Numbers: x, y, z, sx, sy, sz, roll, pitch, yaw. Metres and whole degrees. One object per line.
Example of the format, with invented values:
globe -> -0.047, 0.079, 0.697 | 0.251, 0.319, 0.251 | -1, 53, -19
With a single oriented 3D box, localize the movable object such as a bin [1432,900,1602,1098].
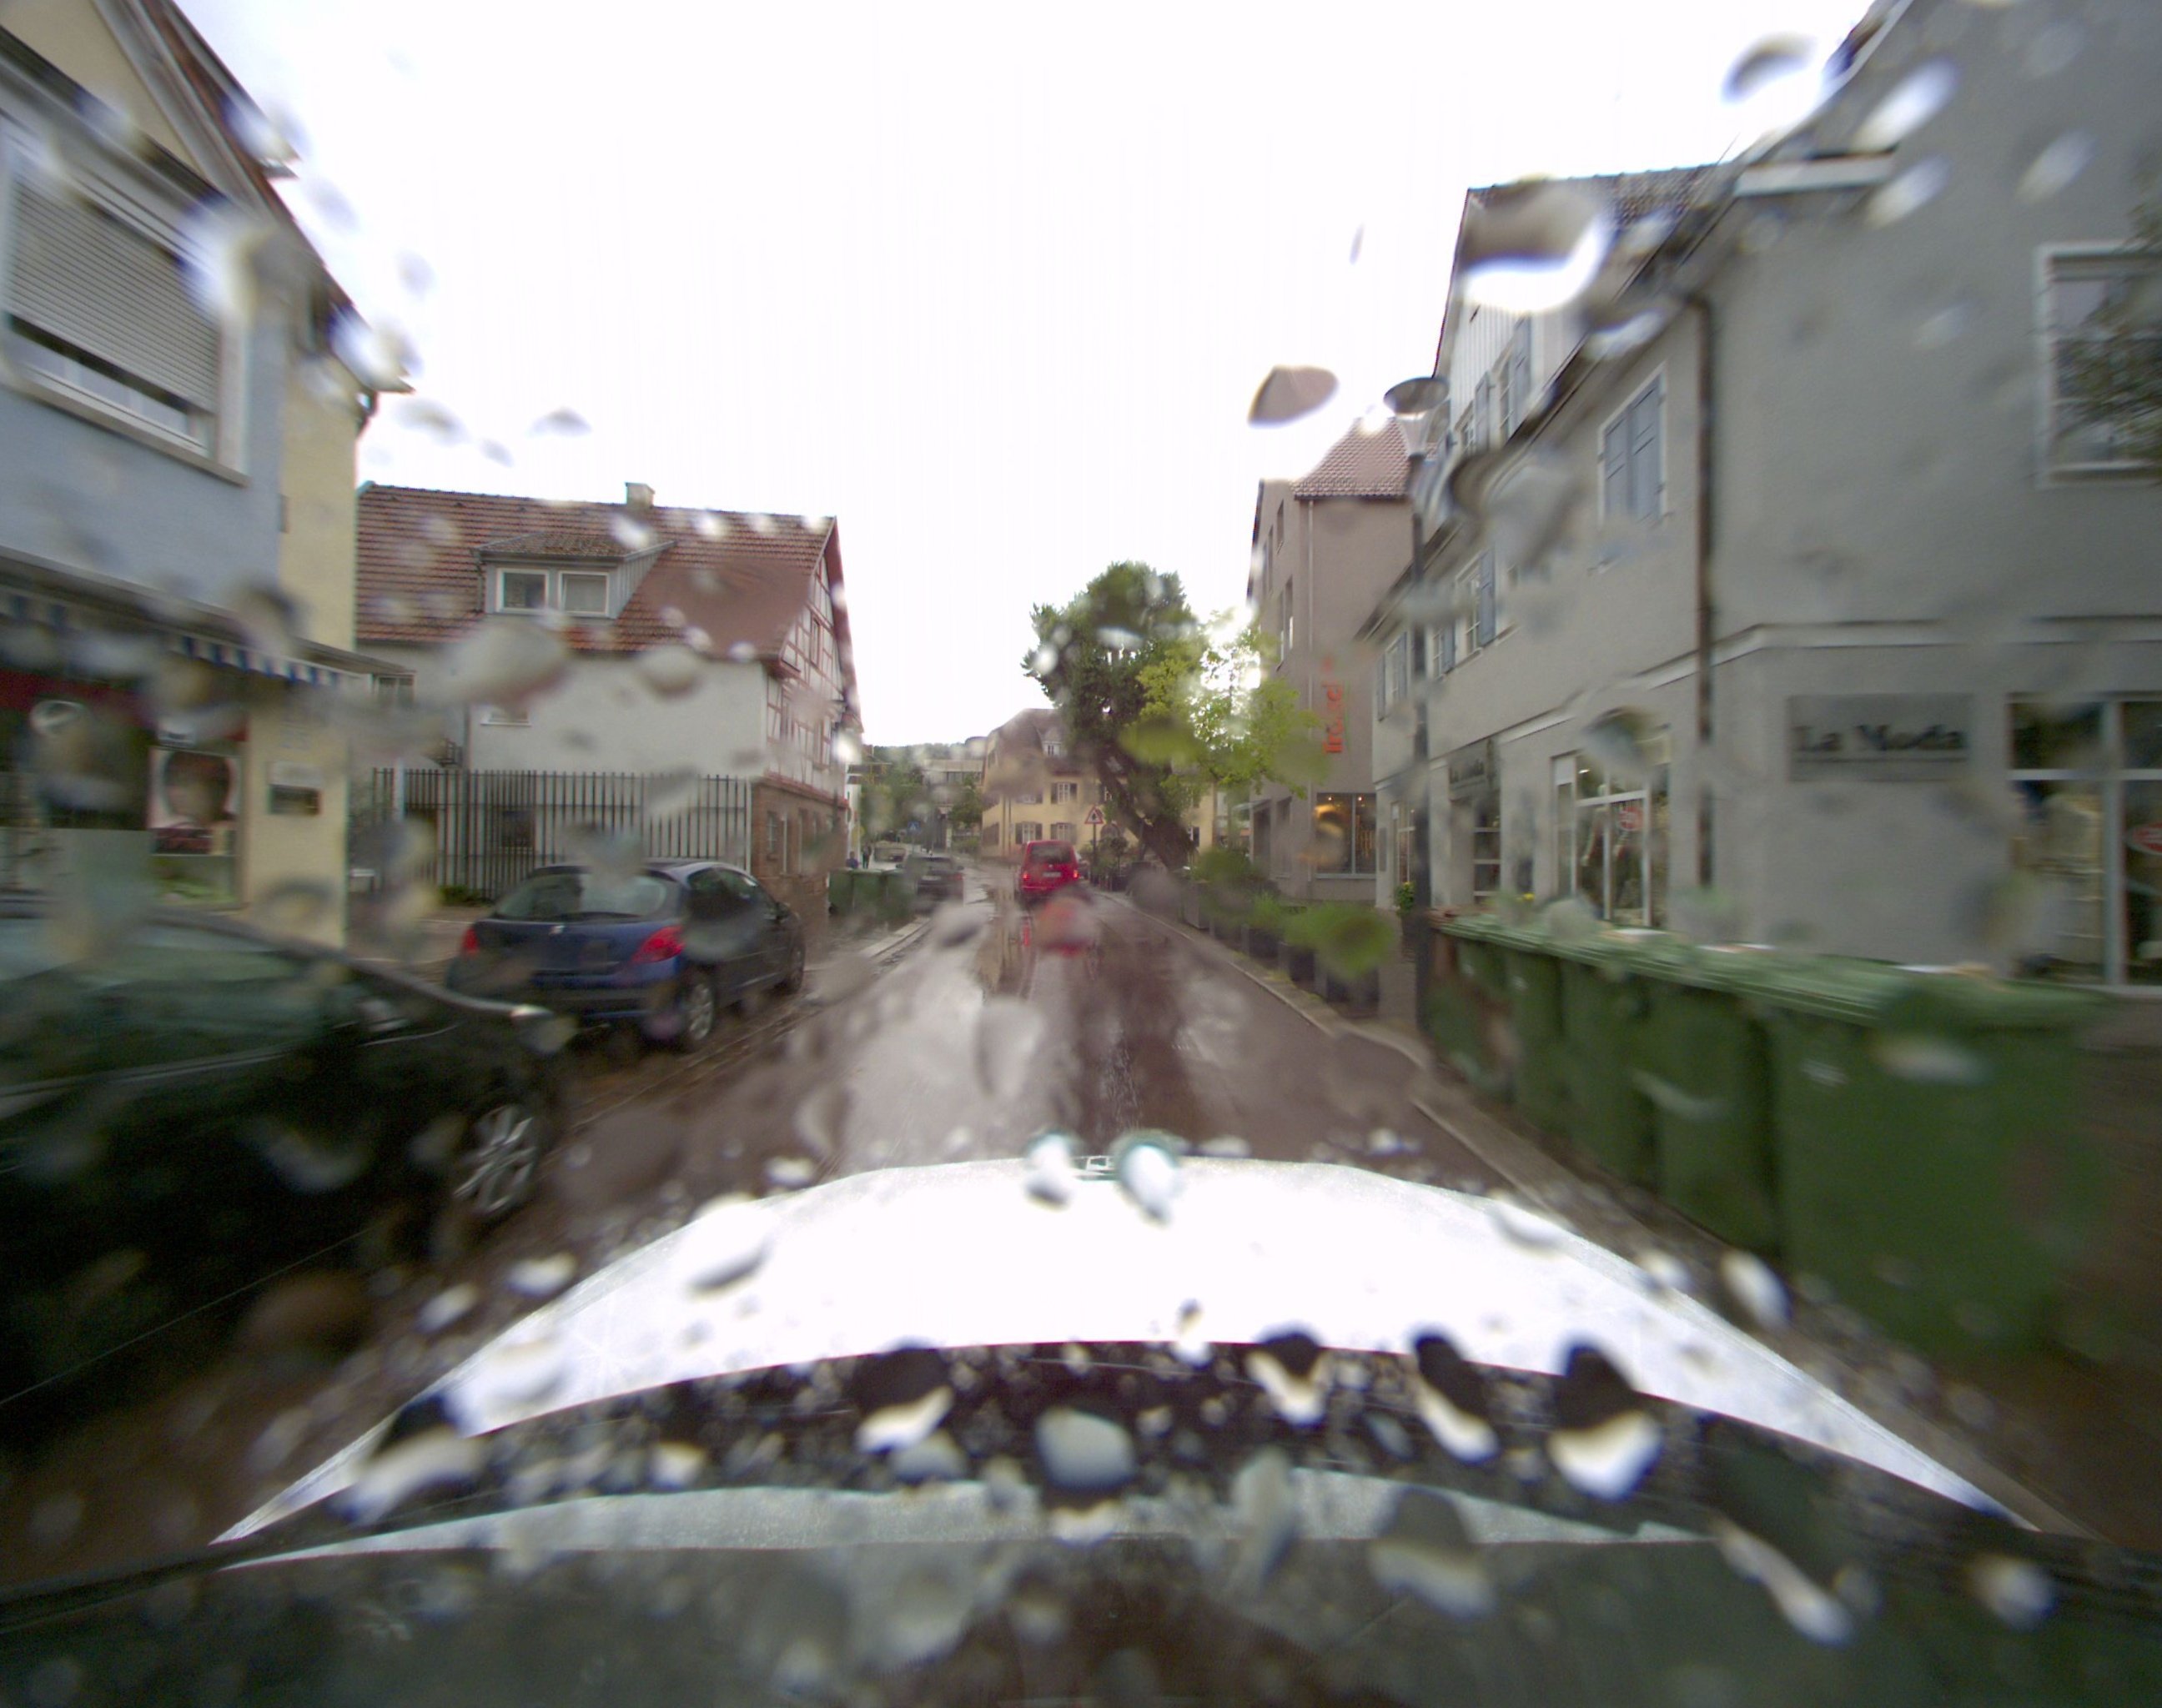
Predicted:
movable object such as a bin -> 2.648, 0.852, 5.003 | 0.732, 1.098, 0.611 | 1, -1, 2

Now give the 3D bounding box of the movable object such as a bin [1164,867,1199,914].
movable object such as a bin -> 2.352, 0.851, 19.141 | 0.719, 1.073, 0.648 | 1, -1, -2

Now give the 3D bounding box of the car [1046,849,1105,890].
car -> -0.189, 0.741, 38.963 | 1.981, 1.799, 4.012 | 1, -1, 11

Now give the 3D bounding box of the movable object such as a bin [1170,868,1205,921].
movable object such as a bin -> 2.279, 0.860, 17.501 | 0.630, 1.104, 0.578 | 2, -1, -5

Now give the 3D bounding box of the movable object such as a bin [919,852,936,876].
movable object such as a bin -> -7.183, 0.452, 38.040 | 0.714, 1.106, 0.598 | 2, -1, -8

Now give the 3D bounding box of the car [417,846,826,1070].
car -> -3.752, 0.707, 7.559 | 1.753, 1.473, 3.938 | 2, 1, -4

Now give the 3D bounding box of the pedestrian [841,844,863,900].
pedestrian -> -7.193, 0.572, 25.574 | 0.517, 1.711, 0.577 | 2, -1, -5

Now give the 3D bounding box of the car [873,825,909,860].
car -> -15.701, -0.846, 67.043 | 2.305, 2.602, 6.917 | 2, -1, -17

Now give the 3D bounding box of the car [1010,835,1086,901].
car -> -1.098, 0.357, 24.997 | 1.893, 1.811, 3.990 | 2, 1, -8

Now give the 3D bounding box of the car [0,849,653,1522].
car -> -3.220, 0.749, 2.371 | 1.684, 1.443, 3.888 | 1, 1, 3

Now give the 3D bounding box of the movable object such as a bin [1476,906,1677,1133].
movable object such as a bin -> 2.643, 0.849, 4.406 | 0.732, 1.098, 0.611 | 1, -1, 2

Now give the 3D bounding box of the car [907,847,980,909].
car -> -3.841, 0.609, 22.674 | 1.788, 1.495, 3.986 | 2, 1, -11

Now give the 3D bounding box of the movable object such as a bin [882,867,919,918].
movable object such as a bin -> -4.098, 0.864, 18.502 | 0.724, 1.110, 0.595 | 2, -1, -5

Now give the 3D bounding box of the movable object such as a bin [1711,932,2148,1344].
movable object such as a bin -> 2.623, 0.823, 2.599 | 0.765, 1.079, 0.599 | 1, -1, 3

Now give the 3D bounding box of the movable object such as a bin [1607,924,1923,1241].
movable object such as a bin -> 2.641, 0.839, 3.217 | 0.751, 1.064, 0.600 | 1, -1, 3

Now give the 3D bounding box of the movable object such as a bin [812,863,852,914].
movable object such as a bin -> -5.596, 0.777, 18.346 | 0.724, 1.110, 0.595 | 2, -1, -5

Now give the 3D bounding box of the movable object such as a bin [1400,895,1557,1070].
movable object such as a bin -> 2.712, 0.850, 5.620 | 0.751, 1.090, 0.656 | -1, 0, -1

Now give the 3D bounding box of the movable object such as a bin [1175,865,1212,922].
movable object such as a bin -> 2.325, 0.810, 16.913 | 0.630, 1.150, 0.578 | 2, -1, -5

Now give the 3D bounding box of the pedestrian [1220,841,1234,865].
pedestrian -> 11.064, -0.078, 61.765 | 0.895, 1.842, 0.766 | 1, -1, 1

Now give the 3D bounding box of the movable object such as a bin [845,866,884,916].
movable object such as a bin -> -4.867, 0.829, 18.374 | 0.724, 1.110, 0.595 | 2, -1, -5

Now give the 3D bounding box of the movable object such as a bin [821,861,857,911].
movable object such as a bin -> -5.620, 0.739, 18.972 | 0.658, 1.110, 0.614 | 2, -1, -5

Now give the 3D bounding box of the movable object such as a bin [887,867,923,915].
movable object such as a bin -> -4.136, 0.862, 19.155 | 0.724, 1.110, 0.644 | 2, -1, -5

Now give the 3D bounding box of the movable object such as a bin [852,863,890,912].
movable object such as a bin -> -4.904, 0.785, 19.021 | 0.724, 1.110, 0.595 | 2, -1, -5

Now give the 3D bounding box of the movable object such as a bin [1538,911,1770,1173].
movable object such as a bin -> 2.649, 0.834, 3.819 | 0.726, 1.091, 0.521 | 1, -1, 3

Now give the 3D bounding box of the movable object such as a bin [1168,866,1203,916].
movable object such as a bin -> 2.371, 0.825, 18.508 | 0.675, 1.103, 0.579 | 1, -1, -2
